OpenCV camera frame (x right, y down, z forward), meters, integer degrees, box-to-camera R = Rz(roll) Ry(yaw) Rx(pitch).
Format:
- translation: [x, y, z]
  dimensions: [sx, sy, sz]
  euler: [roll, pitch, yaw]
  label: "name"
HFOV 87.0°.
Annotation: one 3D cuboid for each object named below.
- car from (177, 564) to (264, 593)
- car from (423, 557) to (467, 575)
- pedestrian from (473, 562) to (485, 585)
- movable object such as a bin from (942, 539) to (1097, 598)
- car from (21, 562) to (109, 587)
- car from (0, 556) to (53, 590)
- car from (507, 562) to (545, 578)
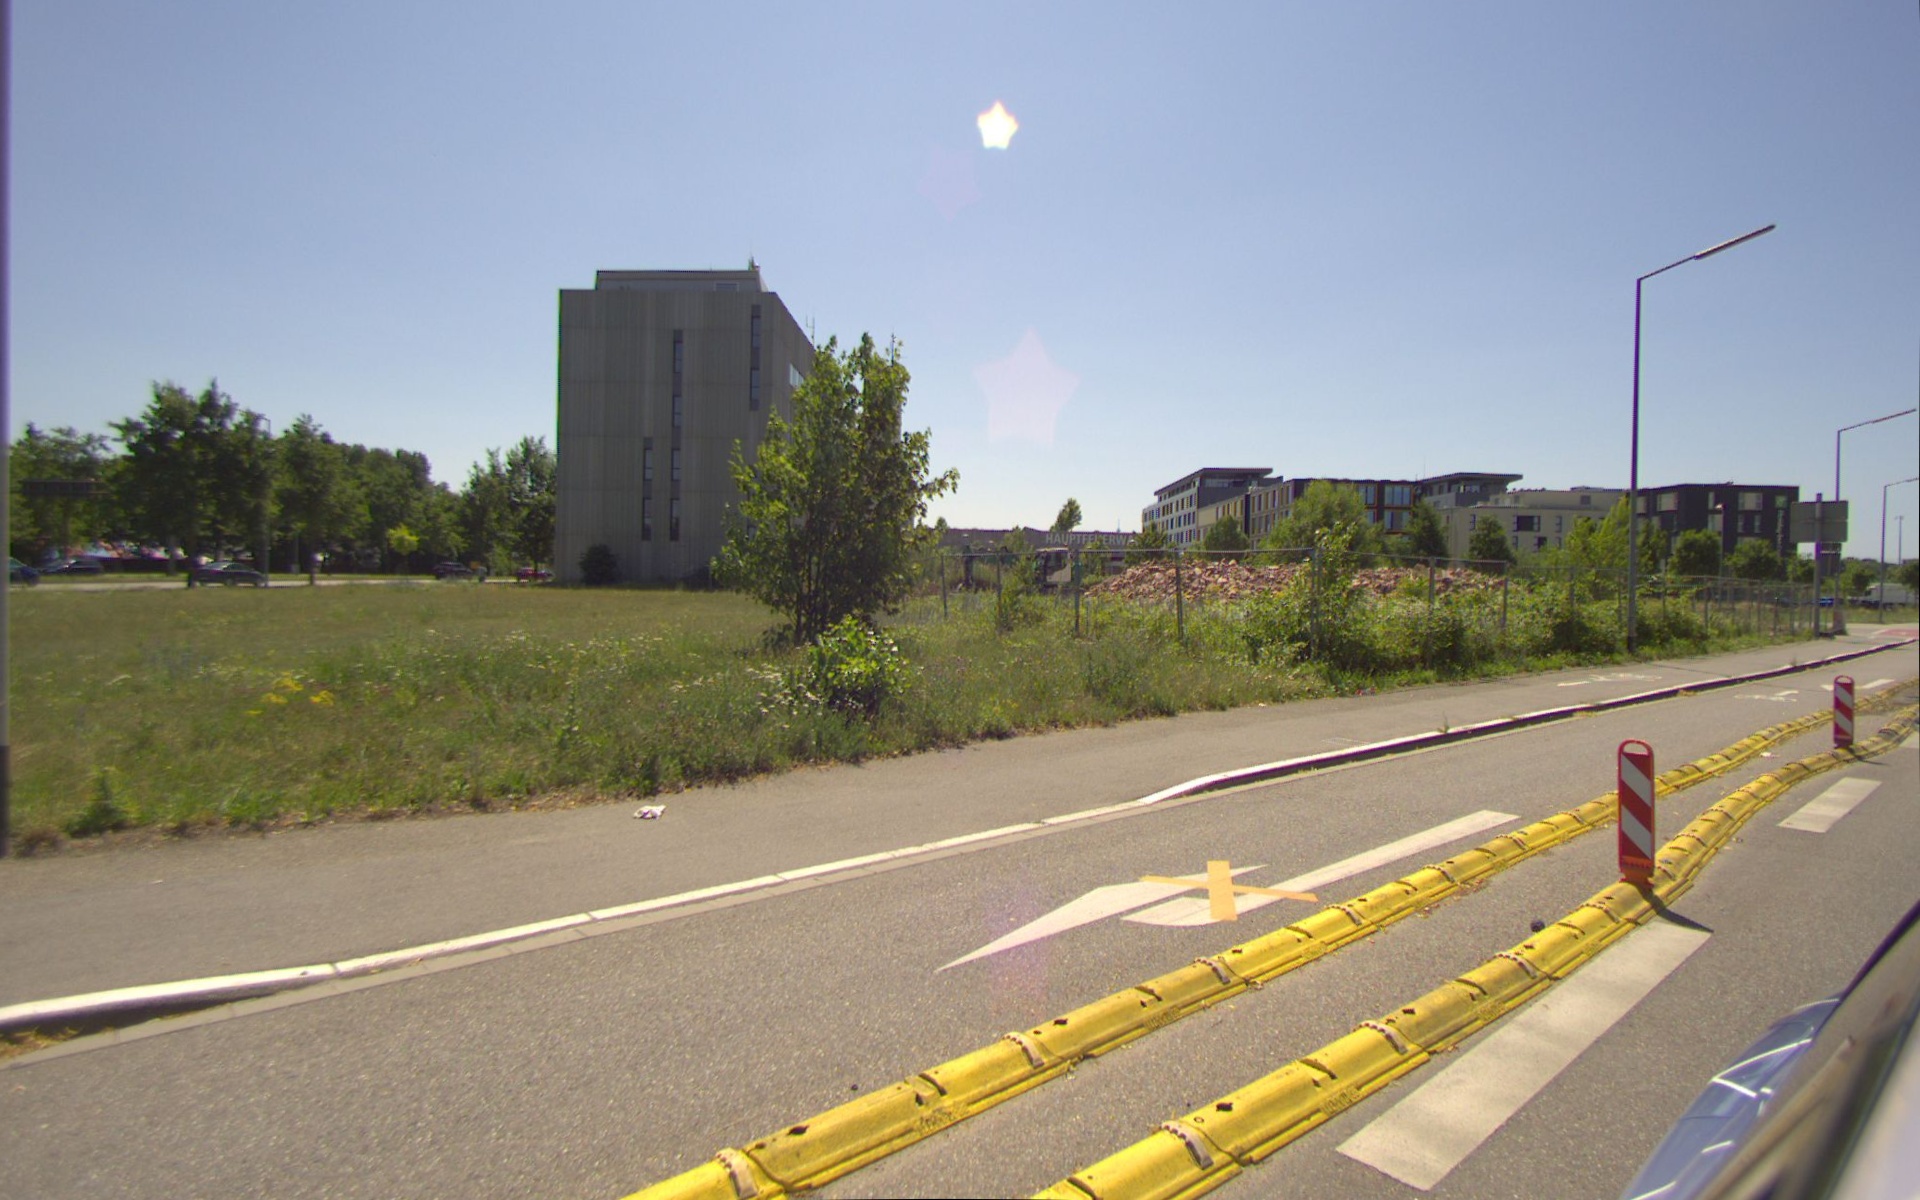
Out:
- translation: [-45.185, -1.297, 61.972]
  dimensions: [1.963, 1.615, 4.418]
  euler: [2, 1, 1]
  label: "car"
- translation: [-48.337, -3.169, 95.072]
  dimensions: [1.961, 1.615, 4.422]
  euler: [2, 1, -3]
  label: "car"
- translation: [-33.786, -1.881, 71.112]
  dimensions: [0.652, 1.611, 0.557]
  euler: [0, 0, -15]
  label: "pedestrian"
- translation: [3.137, -1.603, 53.308]
  dimensions: [7.537, 2.952, 3.242]
  euler: [-1, 0, -26]
  label: "movable object such as a bin"
- translation: [-59.028, -1.646, 66.863]
  dimensions: [1.814, 1.612, 4.443]
  euler: [0, 0, 1]
  label: "car"
- translation: [-48.538, -1.380, 50.905]
  dimensions: [1.961, 1.615, 4.422]
  euler: [2, 1, -3]
  label: "car"
- translation: [-44.973, -3.070, 104.988]
  dimensions: [1.963, 1.546, 4.417]
  euler: [0, 0, 2]
  label: "car"
